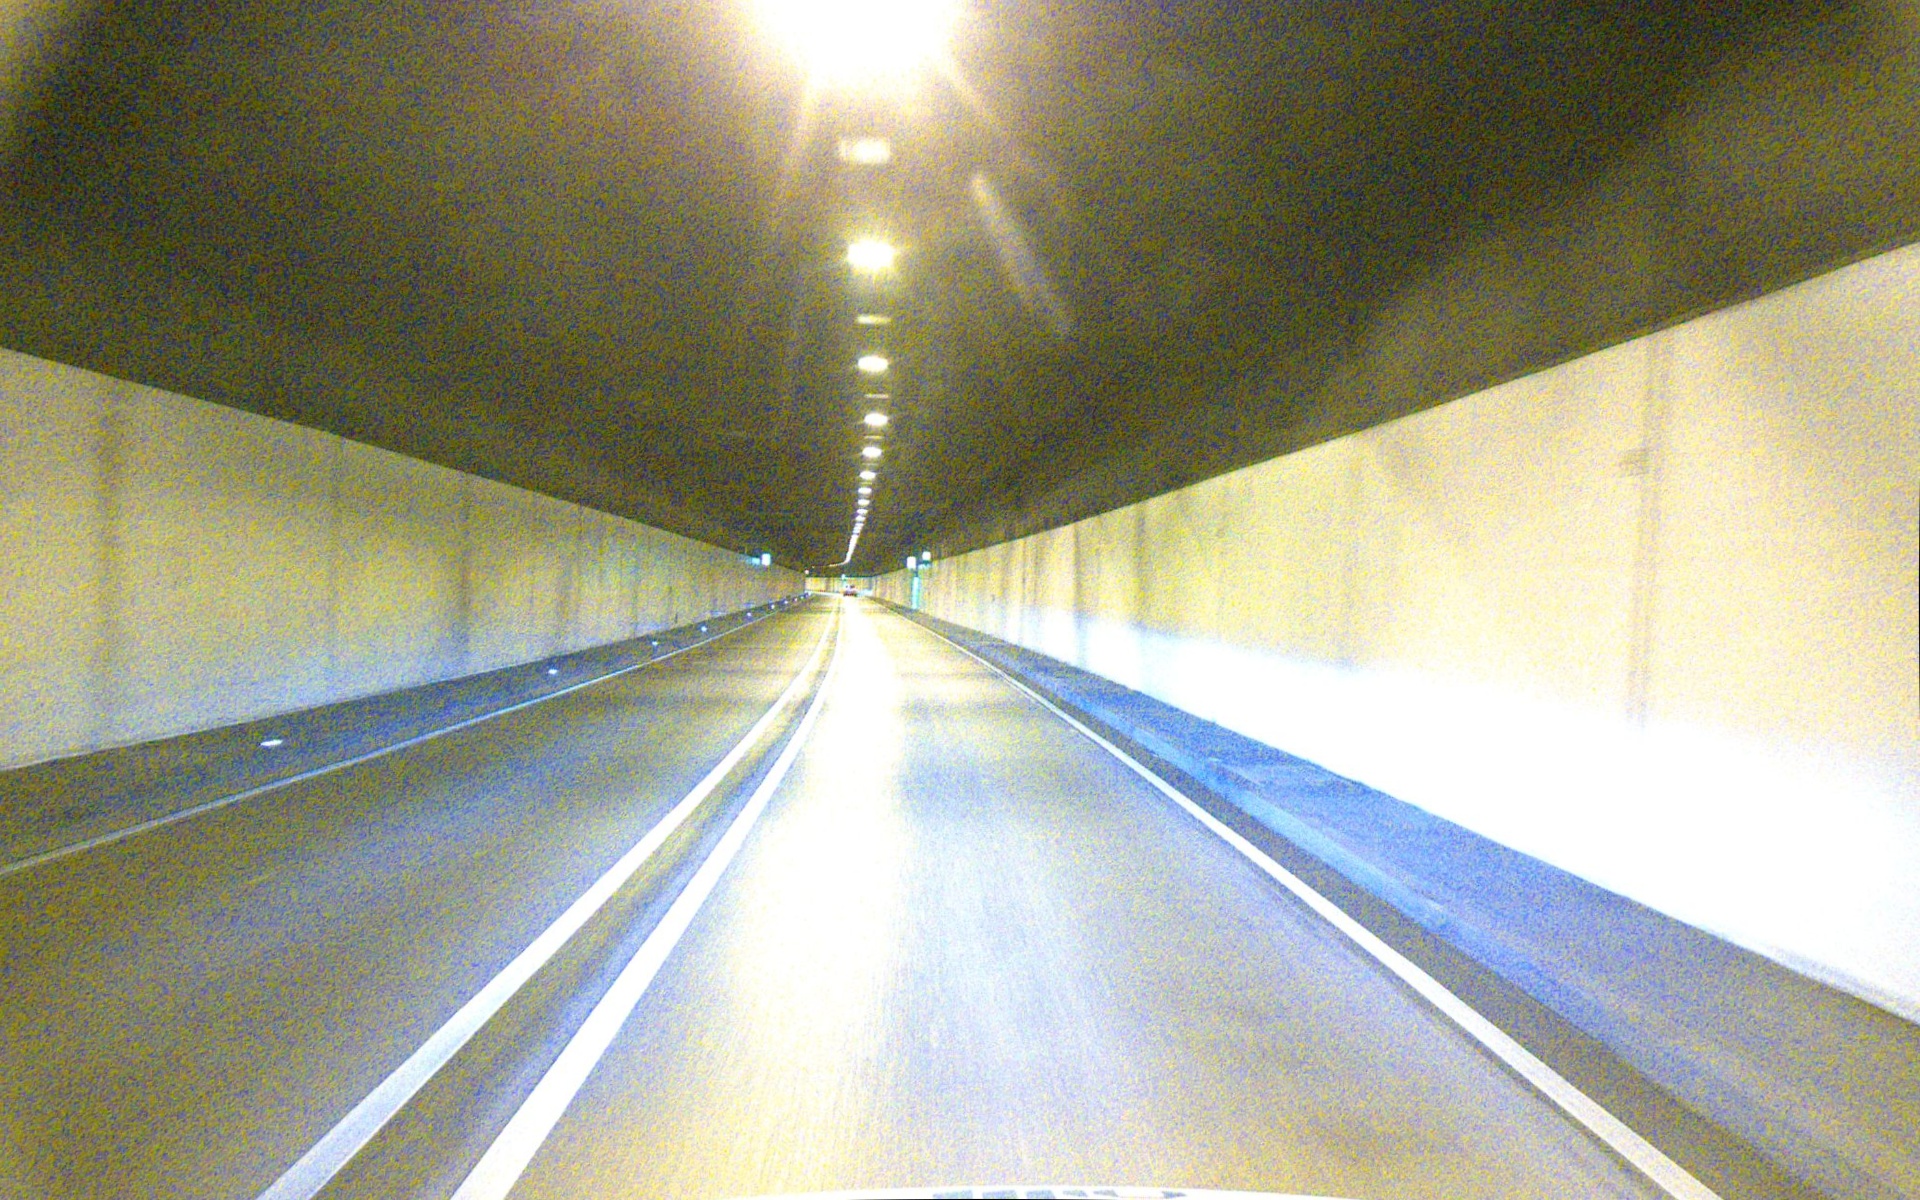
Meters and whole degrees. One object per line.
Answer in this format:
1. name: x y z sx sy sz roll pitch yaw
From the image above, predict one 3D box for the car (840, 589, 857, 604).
1. car: -15.110 -0.491 223.579 1.930 1.972 4.603 2 0 -9
